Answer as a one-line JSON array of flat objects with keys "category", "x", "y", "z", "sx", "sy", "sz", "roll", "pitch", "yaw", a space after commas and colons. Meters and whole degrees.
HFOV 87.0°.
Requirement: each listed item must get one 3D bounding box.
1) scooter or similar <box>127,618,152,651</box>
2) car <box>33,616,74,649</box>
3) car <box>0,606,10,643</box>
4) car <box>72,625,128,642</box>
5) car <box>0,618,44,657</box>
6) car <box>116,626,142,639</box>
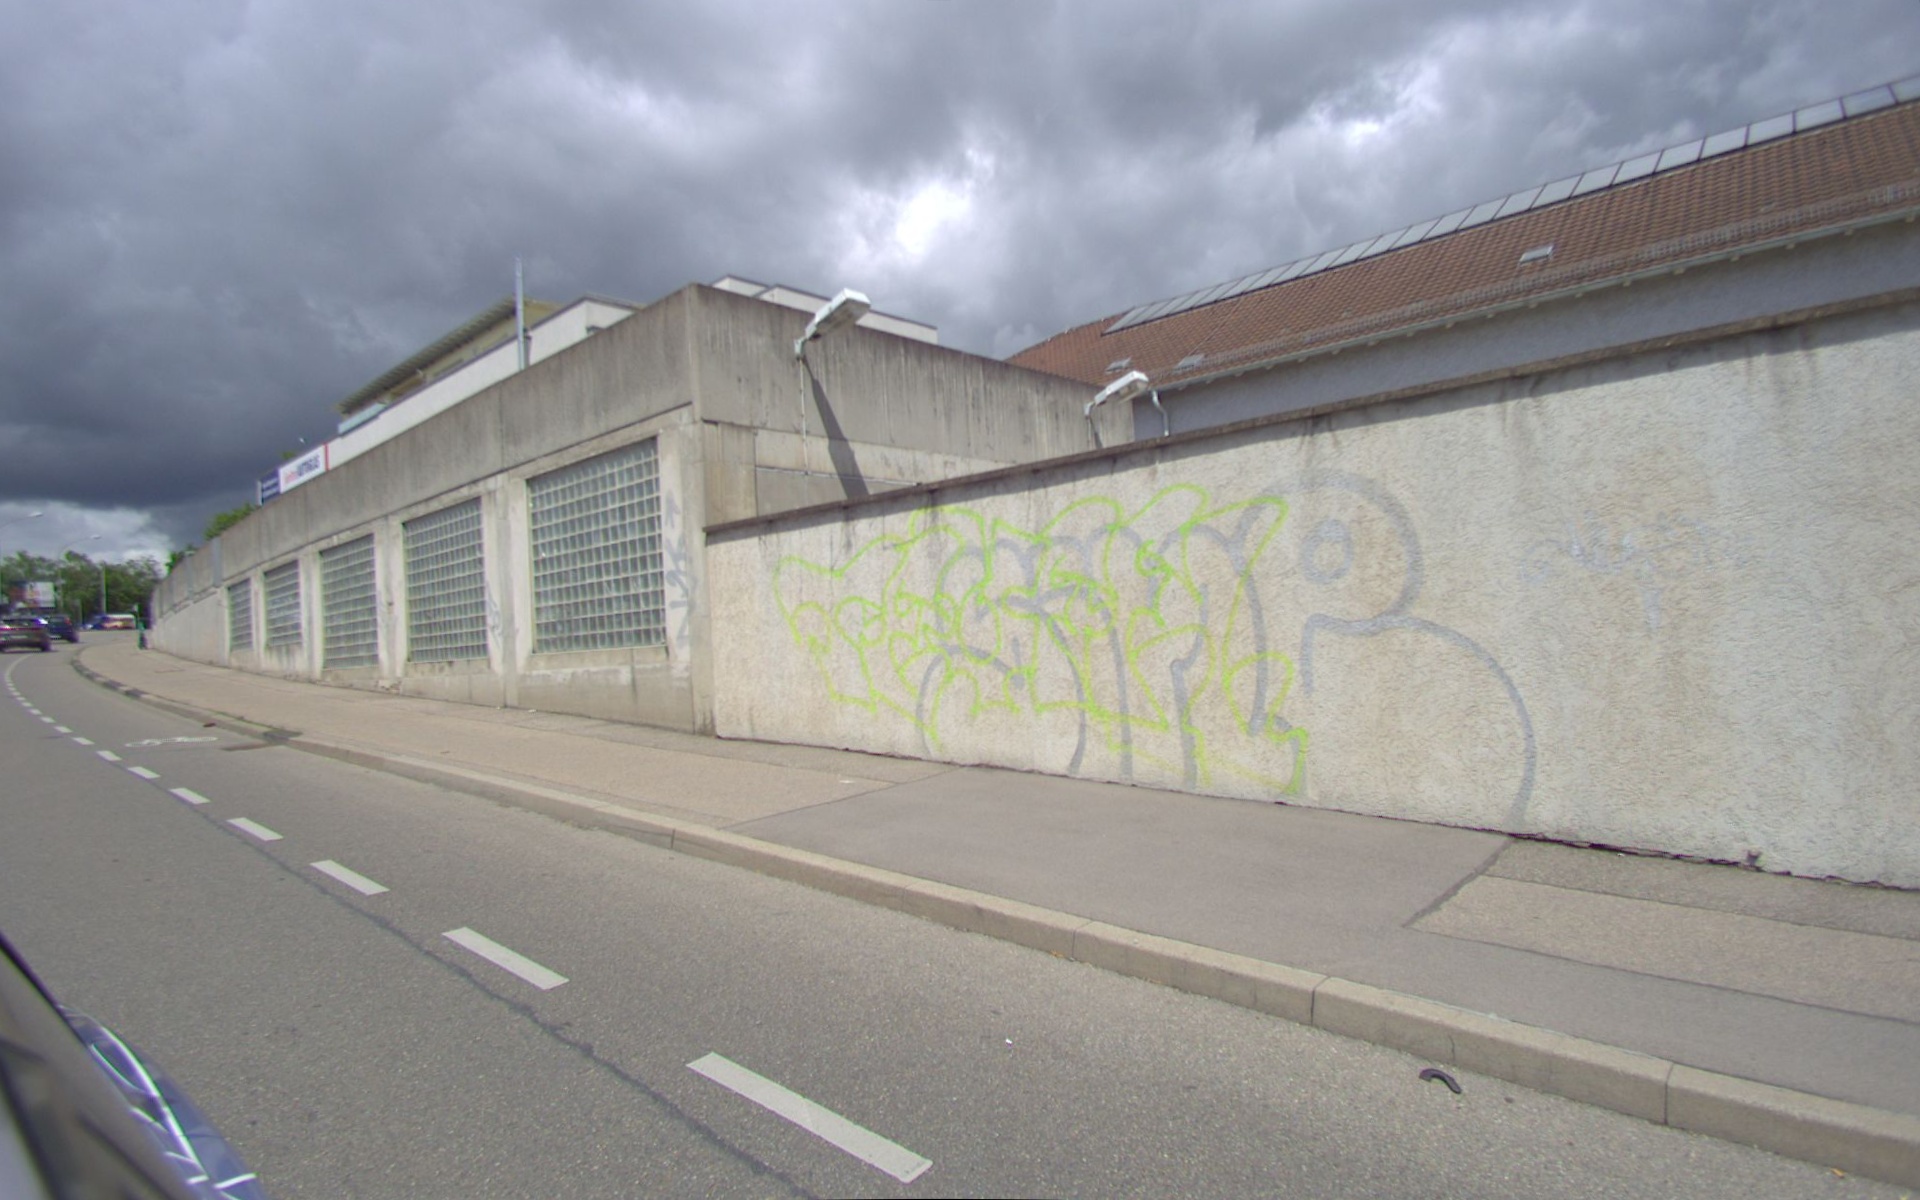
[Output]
[{"category": "scooter or similar", "x": -33.627, "y": 1.408, "z": 41.481, "sx": 1.383, "sy": 1.285, "sz": 0.514, "roll": -1, "pitch": 2, "yaw": 41}, {"category": "car", "x": -51.656, "y": 1.818, "z": 57.628, "sx": 1.607, "sy": 1.831, "sz": 3.783, "roll": 1, "pitch": -1, "yaw": -44}, {"category": "car", "x": -67.685, "y": 1.725, "z": 69.919, "sx": 2.026, "sy": 2.613, "sz": 5.750, "roll": -1, "pitch": 0, "yaw": -33}, {"category": "car", "x": -109.434, "y": 4.239, "z": 128.772, "sx": 1.950, "sy": 1.984, "sz": 5.088, "roll": -1, "pitch": 0, "yaw": 25}, {"category": "car", "x": -41.683, "y": 1.631, "z": 44.608, "sx": 1.779, "sy": 1.634, "sz": 4.095, "roll": 1, "pitch": -2, "yaw": -44}, {"category": "car", "x": -97.225, "y": 3.792, "z": 118.434, "sx": 1.578, "sy": 1.502, "sz": 3.693, "roll": -1, "pitch": 0, "yaw": -28}]
